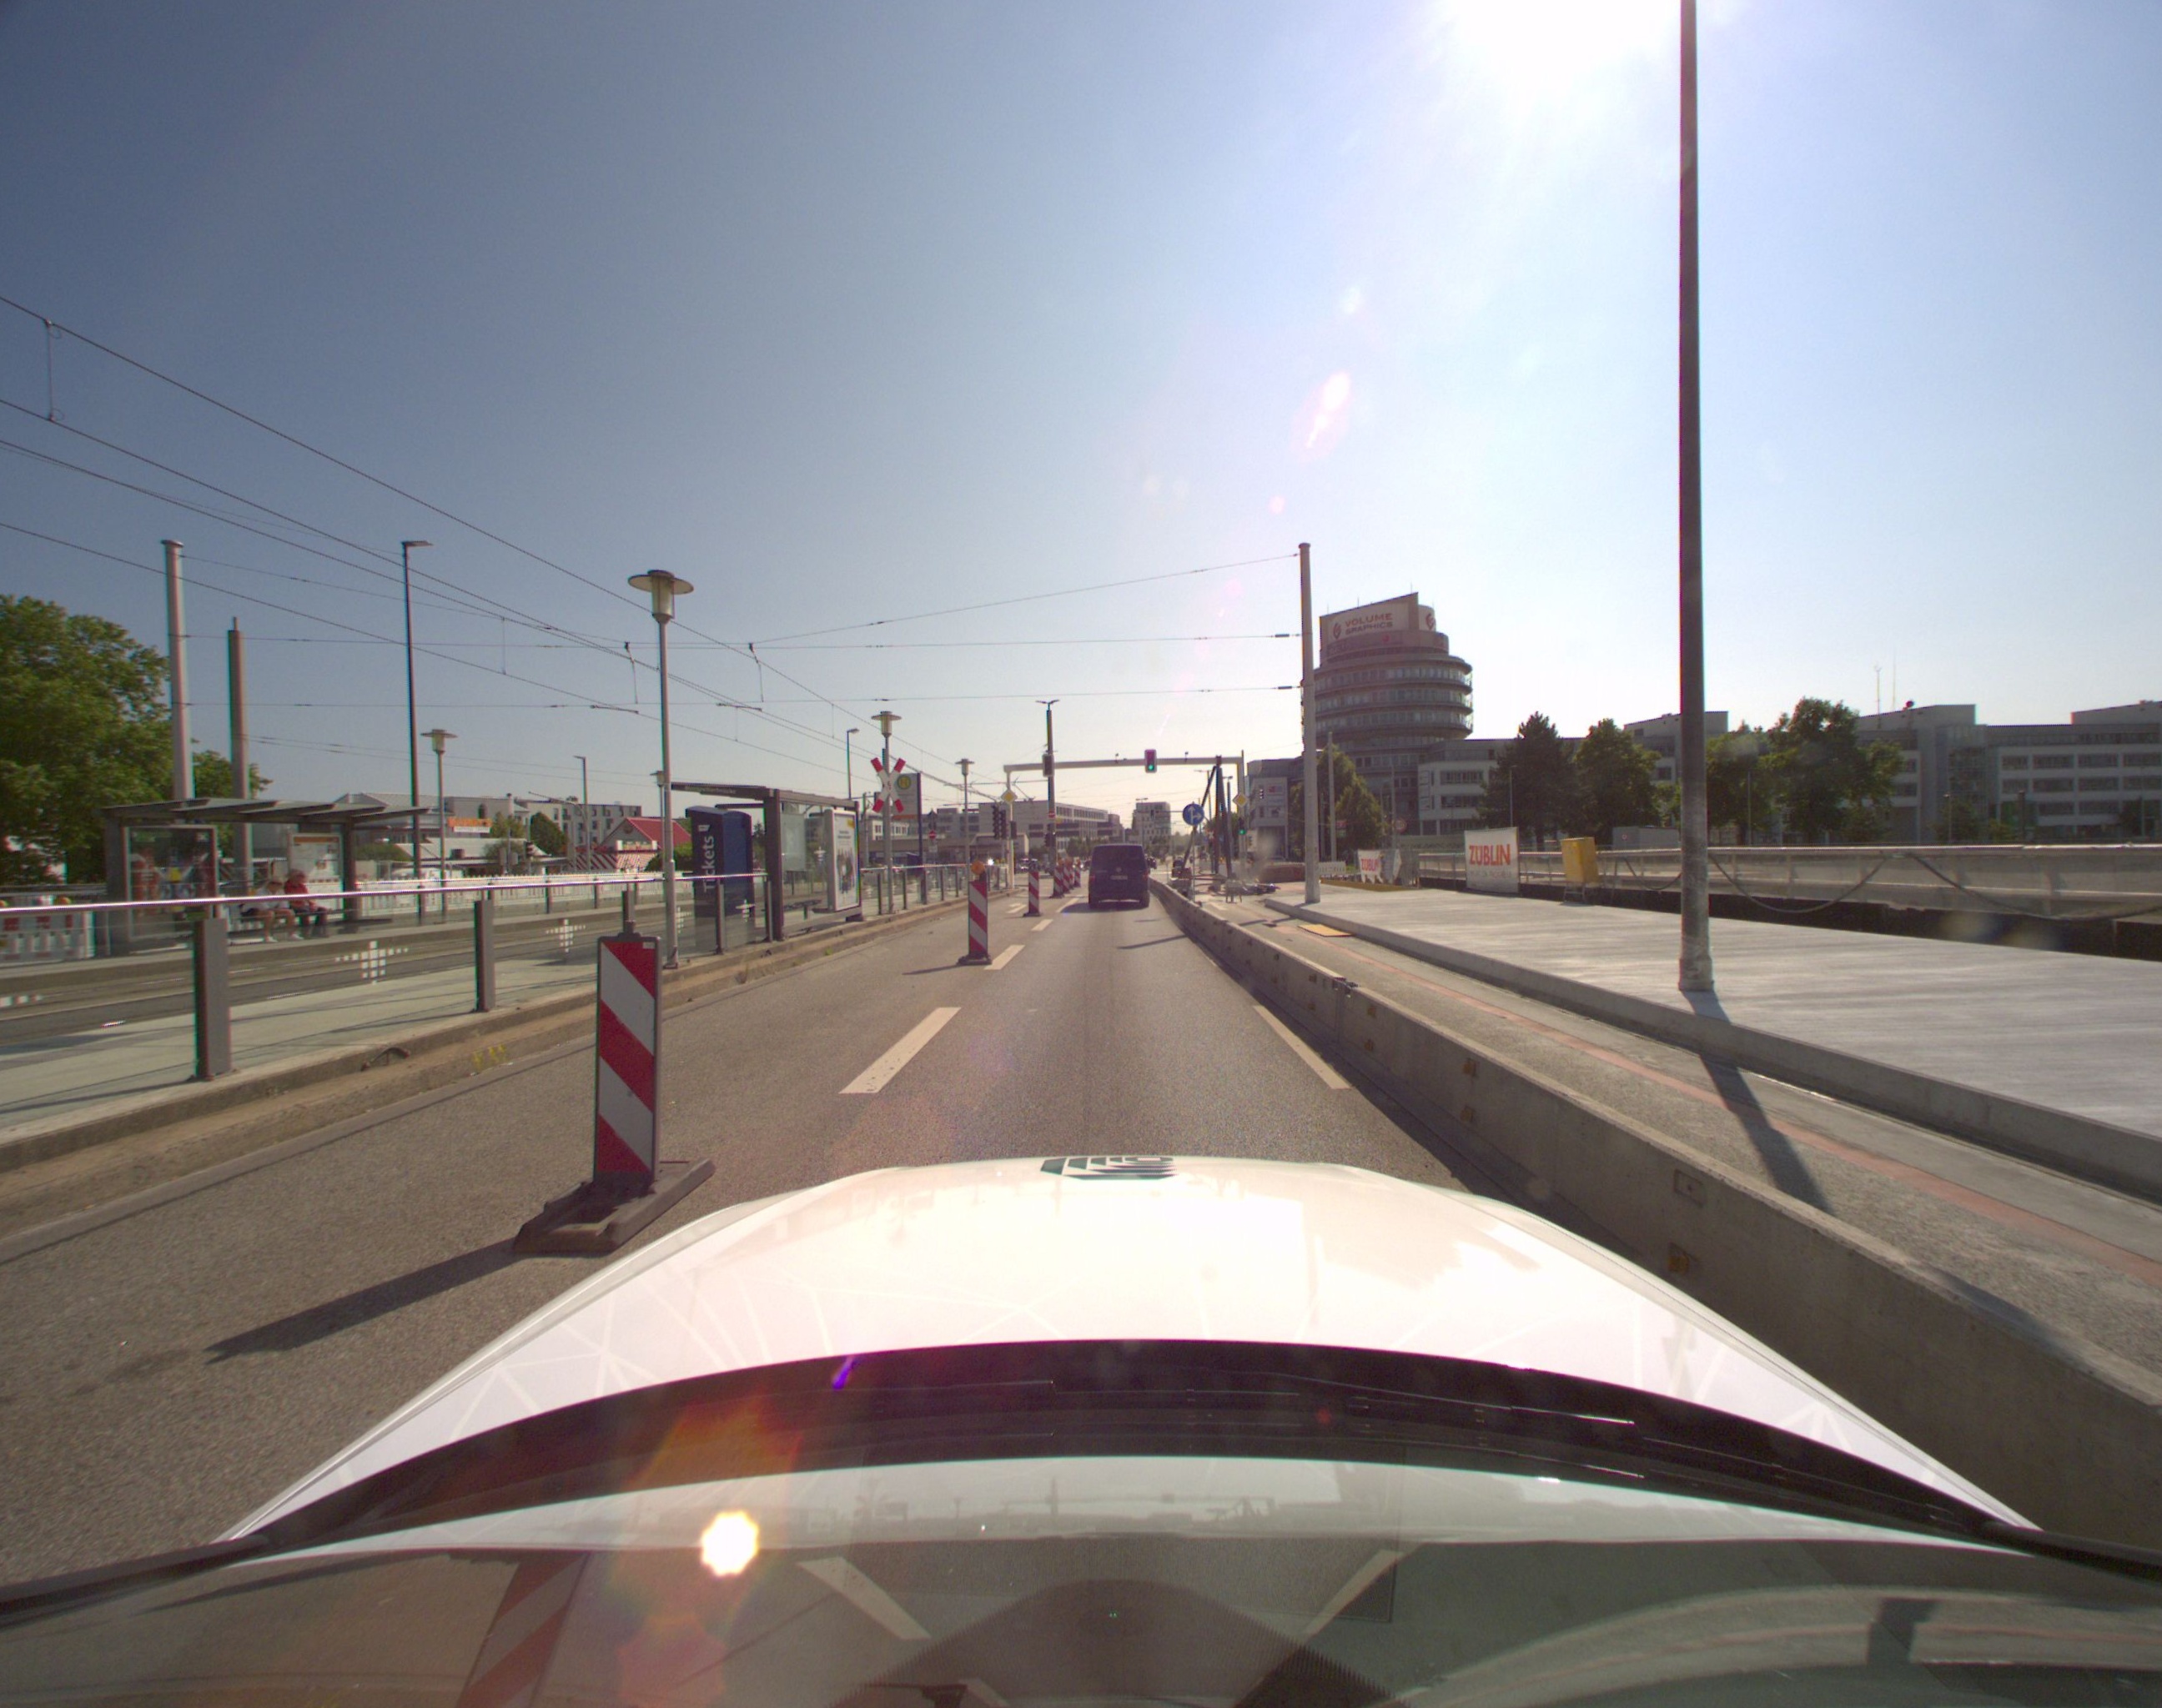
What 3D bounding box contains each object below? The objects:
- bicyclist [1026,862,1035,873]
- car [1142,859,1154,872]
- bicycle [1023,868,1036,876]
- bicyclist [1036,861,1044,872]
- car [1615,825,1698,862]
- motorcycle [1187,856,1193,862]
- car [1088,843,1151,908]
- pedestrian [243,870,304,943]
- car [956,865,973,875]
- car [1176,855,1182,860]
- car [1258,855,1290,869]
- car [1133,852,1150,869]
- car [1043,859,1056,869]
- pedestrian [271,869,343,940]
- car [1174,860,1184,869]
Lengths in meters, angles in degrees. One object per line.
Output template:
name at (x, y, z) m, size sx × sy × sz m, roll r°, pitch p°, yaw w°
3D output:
bicyclist at (-7.407, 2.020, 119.233) m, size 0.868 × 1.579 × 0.974 m, roll 3°, pitch 0°, yaw 17°
car at (9.343, 1.658, 113.689) m, size 1.638 × 1.728 × 3.722 m, roll 0°, pitch 0°, yaw 4°
bicycle at (-7.491, 2.679, 119.058) m, size 0.874 × 1.069 × 2.819 m, roll 3°, pitch 0°, yaw 17°
bicyclist at (-6.215, 1.916, 122.600) m, size 0.868 × 1.579 × 0.974 m, roll 3°, pitch 0°, yaw 17°
car at (46.722, -0.874, 66.138) m, size 5.964 × 2.887 × 2.333 m, roll 0°, pitch 1°, yaw -17°
motorcycle at (24.988, 1.122, 185.986) m, size 1.155 × 1.242 × 3.016 m, roll -1°, pitch 0°, yaw 10°
car at (1.221, 0.612, 26.092) m, size 1.880 × 1.934 × 4.003 m, roll 0°, pitch 1°, yaw 2°
pedestrian at (-14.479, 0.932, 14.609) m, size 0.645 × 1.274 × 0.453 m, roll -1°, pitch 0°, yaw 4°
car at (-17.413, 2.383, 122.012) m, size 1.770 × 1.538 × 4.003 m, roll -1°, pitch 0°, yaw 3°
car at (30.554, 1.098, 254.295) m, size 1.542 × 1.340 × 3.016 m, roll 0°, pitch 0°, yaw 1°
car at (25.204, 1.020, 106.252) m, size 3.798 × 1.797 × 1.682 m, roll 0°, pitch 1°, yaw 2°
car at (6.114, 0.633, 81.759) m, size 1.638 × 1.728 × 4.005 m, roll 0°, pitch 0°, yaw 4°
car at (-4.999, 1.546, 128.572) m, size 1.741 × 1.486 × 4.000 m, roll -2°, pitch 0°, yaw 1°
pedestrian at (-14.428, 0.925, 15.194) m, size 0.645 × 1.274 × 0.698 m, roll -1°, pitch 0°, yaw 5°
car at (17.006, 1.754, 140.944) m, size 1.735 × 1.475 × 3.892 m, roll -1°, pitch 0°, yaw 7°
